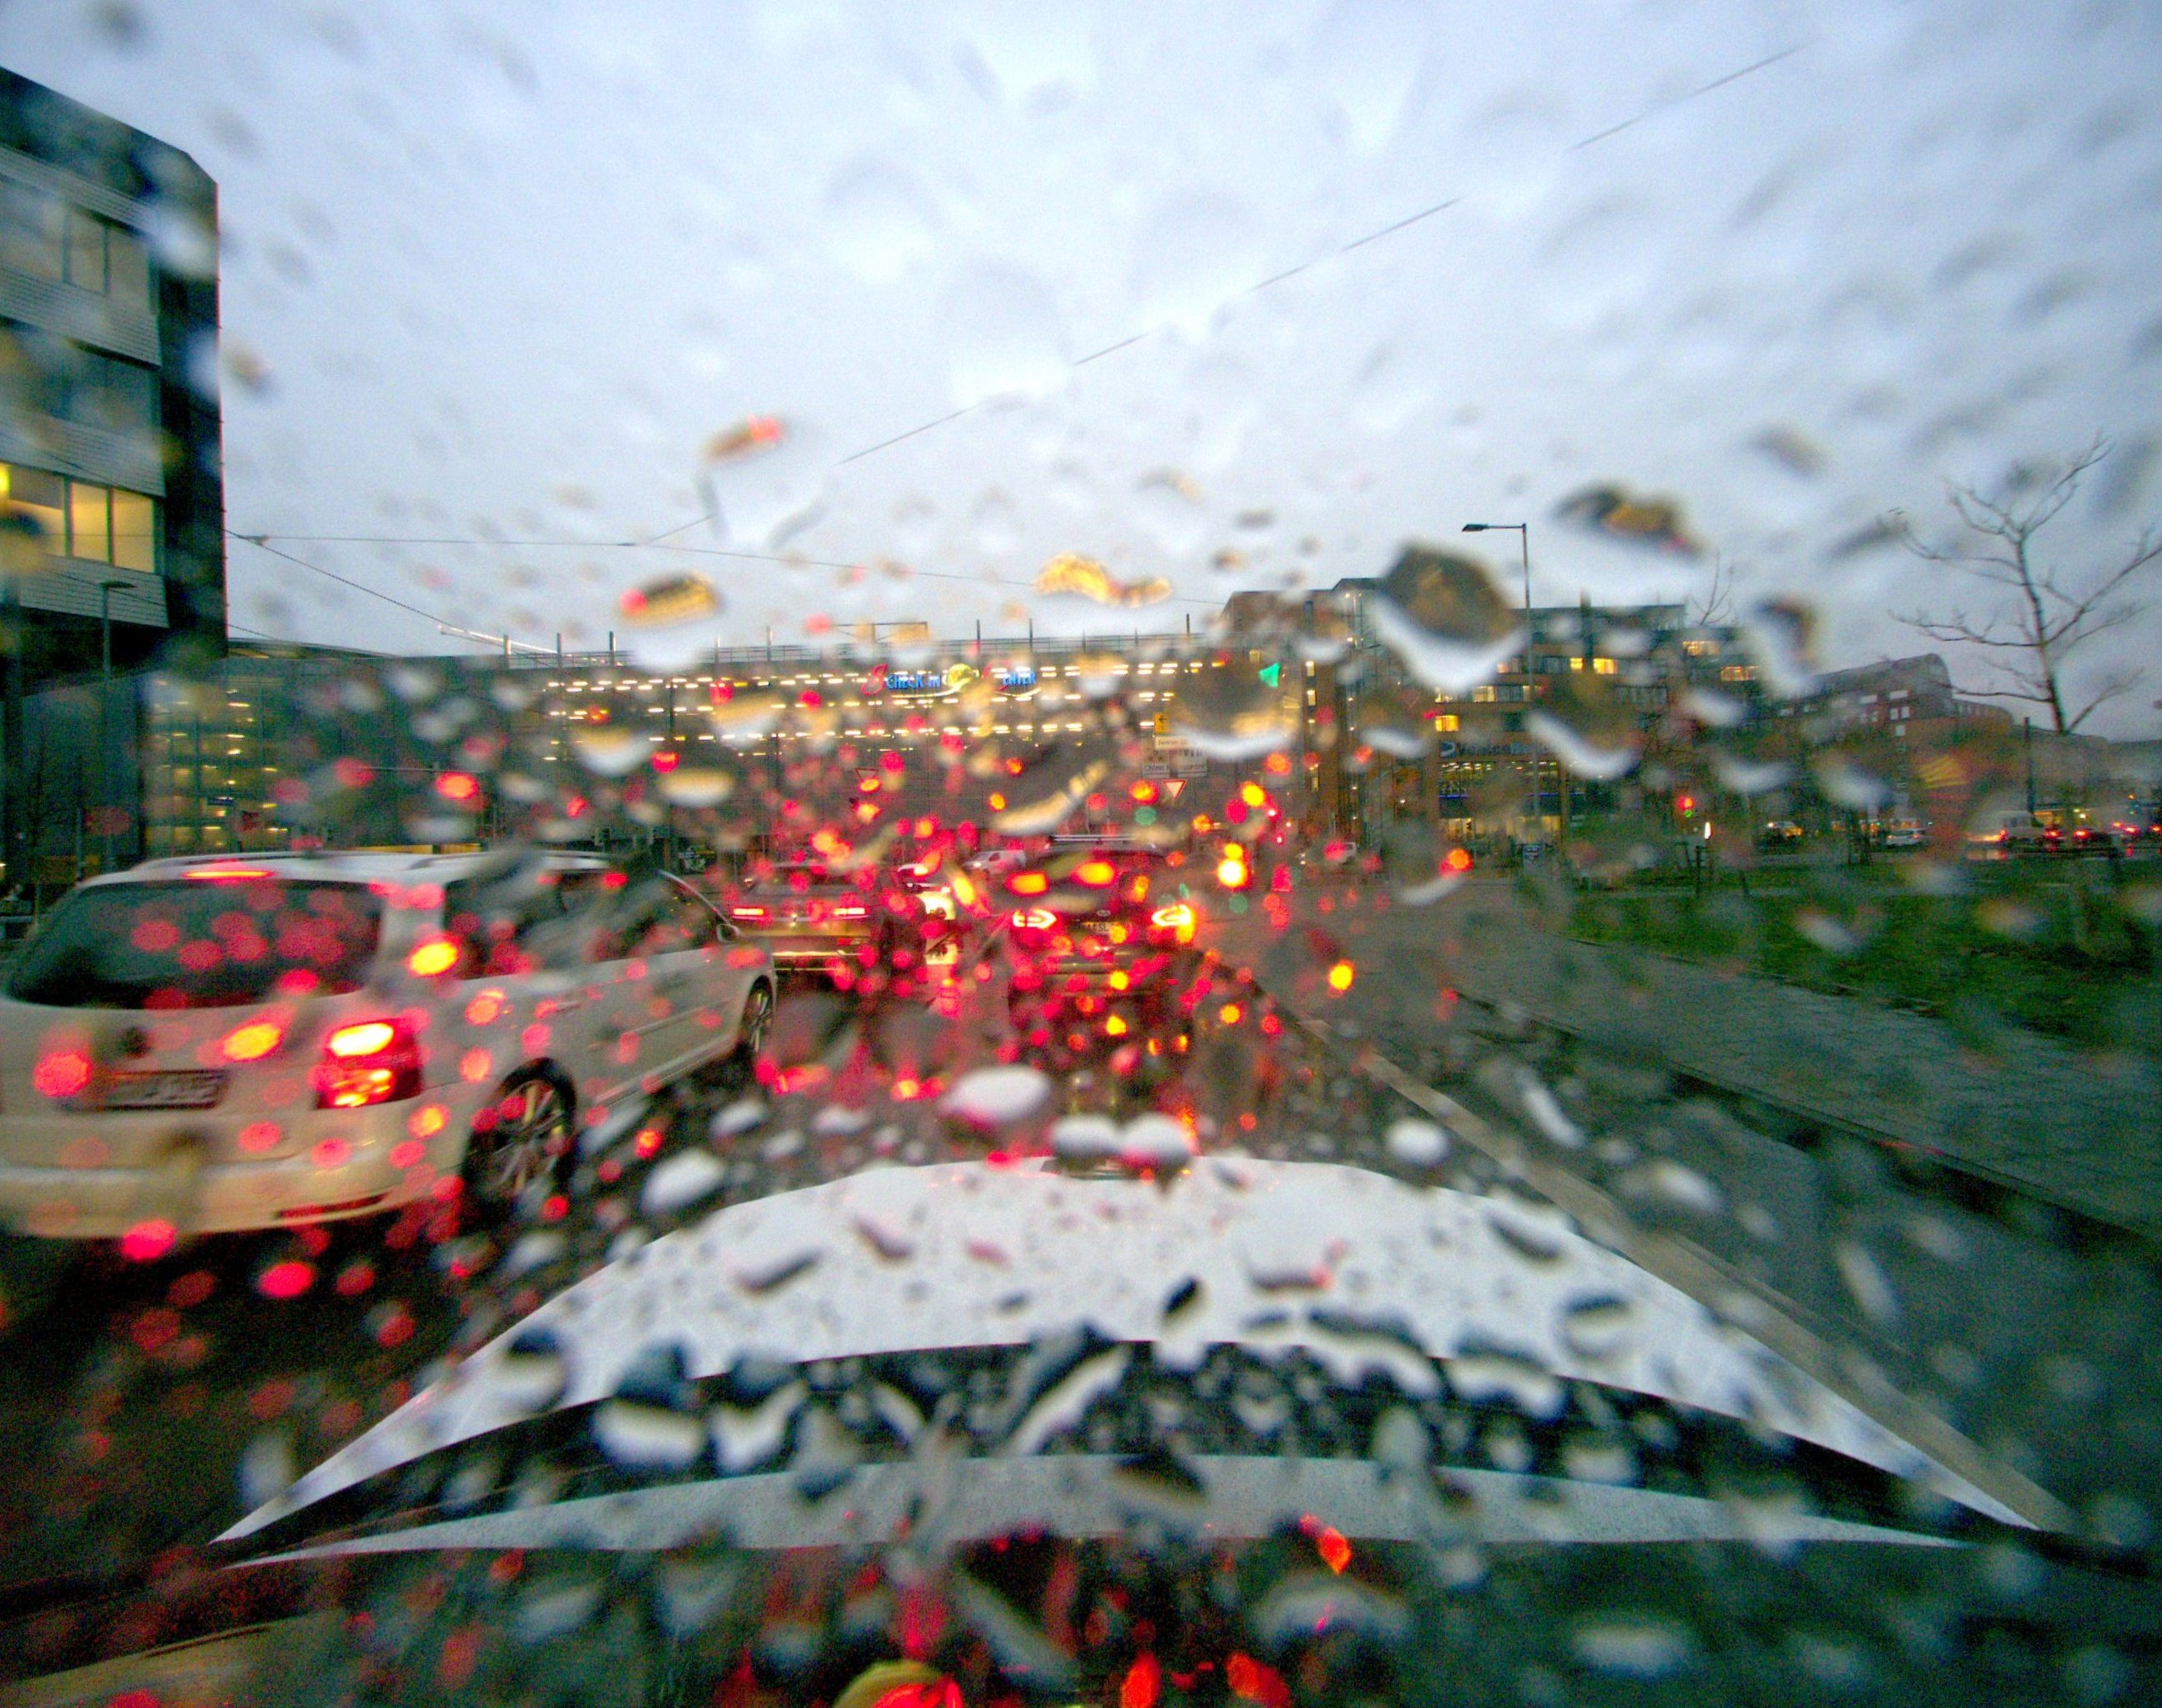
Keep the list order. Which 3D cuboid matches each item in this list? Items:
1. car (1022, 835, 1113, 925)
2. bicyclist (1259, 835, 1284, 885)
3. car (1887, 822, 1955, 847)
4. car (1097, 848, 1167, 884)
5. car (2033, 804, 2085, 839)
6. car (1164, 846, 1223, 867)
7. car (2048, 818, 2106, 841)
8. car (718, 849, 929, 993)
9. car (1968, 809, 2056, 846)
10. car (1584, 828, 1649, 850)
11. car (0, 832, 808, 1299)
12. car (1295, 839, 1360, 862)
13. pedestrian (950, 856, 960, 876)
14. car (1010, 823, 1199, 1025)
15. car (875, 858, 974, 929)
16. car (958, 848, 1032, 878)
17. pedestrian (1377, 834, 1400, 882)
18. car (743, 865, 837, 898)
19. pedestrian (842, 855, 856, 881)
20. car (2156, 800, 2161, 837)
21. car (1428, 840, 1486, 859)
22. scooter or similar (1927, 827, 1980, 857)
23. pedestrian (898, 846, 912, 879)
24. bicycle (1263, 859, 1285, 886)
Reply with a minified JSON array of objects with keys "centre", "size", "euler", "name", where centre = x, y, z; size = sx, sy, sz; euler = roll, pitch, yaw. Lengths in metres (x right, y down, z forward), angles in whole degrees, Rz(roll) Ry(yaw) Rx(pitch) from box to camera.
[{"centre":[-0.350,0.540,19.132],"size":[1.839,1.806,4.483],"euler":[-2,0,-2],"name":"car"},{"centre":[7.335,0.229,31.336],"size":[0.786,1.890,0.991],"euler":[-2,0,8],"name":"bicyclist"},{"centre":[56.562,-1.315,54.838],"size":[3.681,1.496,1.635],"euler":[-2,0,-17],"name":"car"},{"centre":[2.163,0.471,33.527],"size":[1.625,1.361,3.754],"euler":[-2,0,24],"name":"car"},{"centre":[85.663,-2.803,71.319],"size":[6.385,2.827,2.337],"euler":[-1,0,-35],"name":"car"},{"centre":[8.949,0.212,65.085],"size":[4.323,1.486,1.862],"euler":[-2,0,-7],"name":"car"},{"centre":[71.833,-1.760,58.732],"size":[3.470,1.520,1.513],"euler":[-1,0,-19],"name":"car"},{"centre":[-3.339,0.769,11.494],"size":[1.817,1.570,4.355],"euler":[-2,0,-4],"name":"car"},{"centre":[65.153,-1.873,56.997],"size":[5.975,2.427,1.987],"euler":[-2,0,-20],"name":"car"},{"centre":[46.431,-1.305,70.681],"size":[4.592,1.719,1.924],"euler":[-2,0,-8],"name":"car"},{"centre":[-3.234,0.737,4.936],"size":[1.665,1.599,4.223],"euler":[-1,0,1],"name":"car"},{"centre":[19.897,-0.279,65.796],"size":[4.634,1.677,1.782],"euler":[-2,0,-8],"name":"car"},{"centre":[-11.832,1.125,76.598],"size":[0.785,1.787,0.732],"euler":[-2,-1,-3],"name":"pedestrian"},{"centre":[0.266,0.620,9.182],"size":[1.668,1.779,4.001],"euler":[0,0,2],"name":"car"},{"centre":[-3.552,0.833,19.157],"size":[1.754,1.463,3.912],"euler":[-1,0,-3],"name":"car"},{"centre":[-5.861,0.572,55.762],"size":[1.881,1.871,4.993],"euler":[-2,0,43],"name":"car"},{"centre":[12.390,0.170,32.796],"size":[0.766,1.877,0.639],"euler":[-2,0,24],"name":"pedestrian"},{"centre":[-14.263,1.320,40.166],"size":[1.625,1.386,4.502],"euler":[-2,0,25],"name":"car"},{"centre":[-22.384,1.372,78.604],"size":[1.106,2.439,0.966],"euler":[0,-1,1],"name":"pedestrian"},{"centre":[87.660,-2.849,63.743],"size":[6.356,2.827,2.348],"euler":[-1,0,-19],"name":"car"},{"centre":[31.557,-0.408,68.378],"size":[4.415,1.444,1.622],"euler":[-2,0,-14],"name":"car"},{"centre":[36.500,-0.483,34.075],"size":[1.548,1.227,0.669],"euler":[0,-1,-4],"name":"scooter or similar"},{"centre":[-15.720,0.728,72.876],"size":[0.959,2.925,1.114],"euler":[0,-1,1],"name":"pedestrian"},{"centre":[7.424,0.708,31.390],"size":[0.651,0.973,1.870],"euler":[-2,0,8],"name":"bicycle"}]
